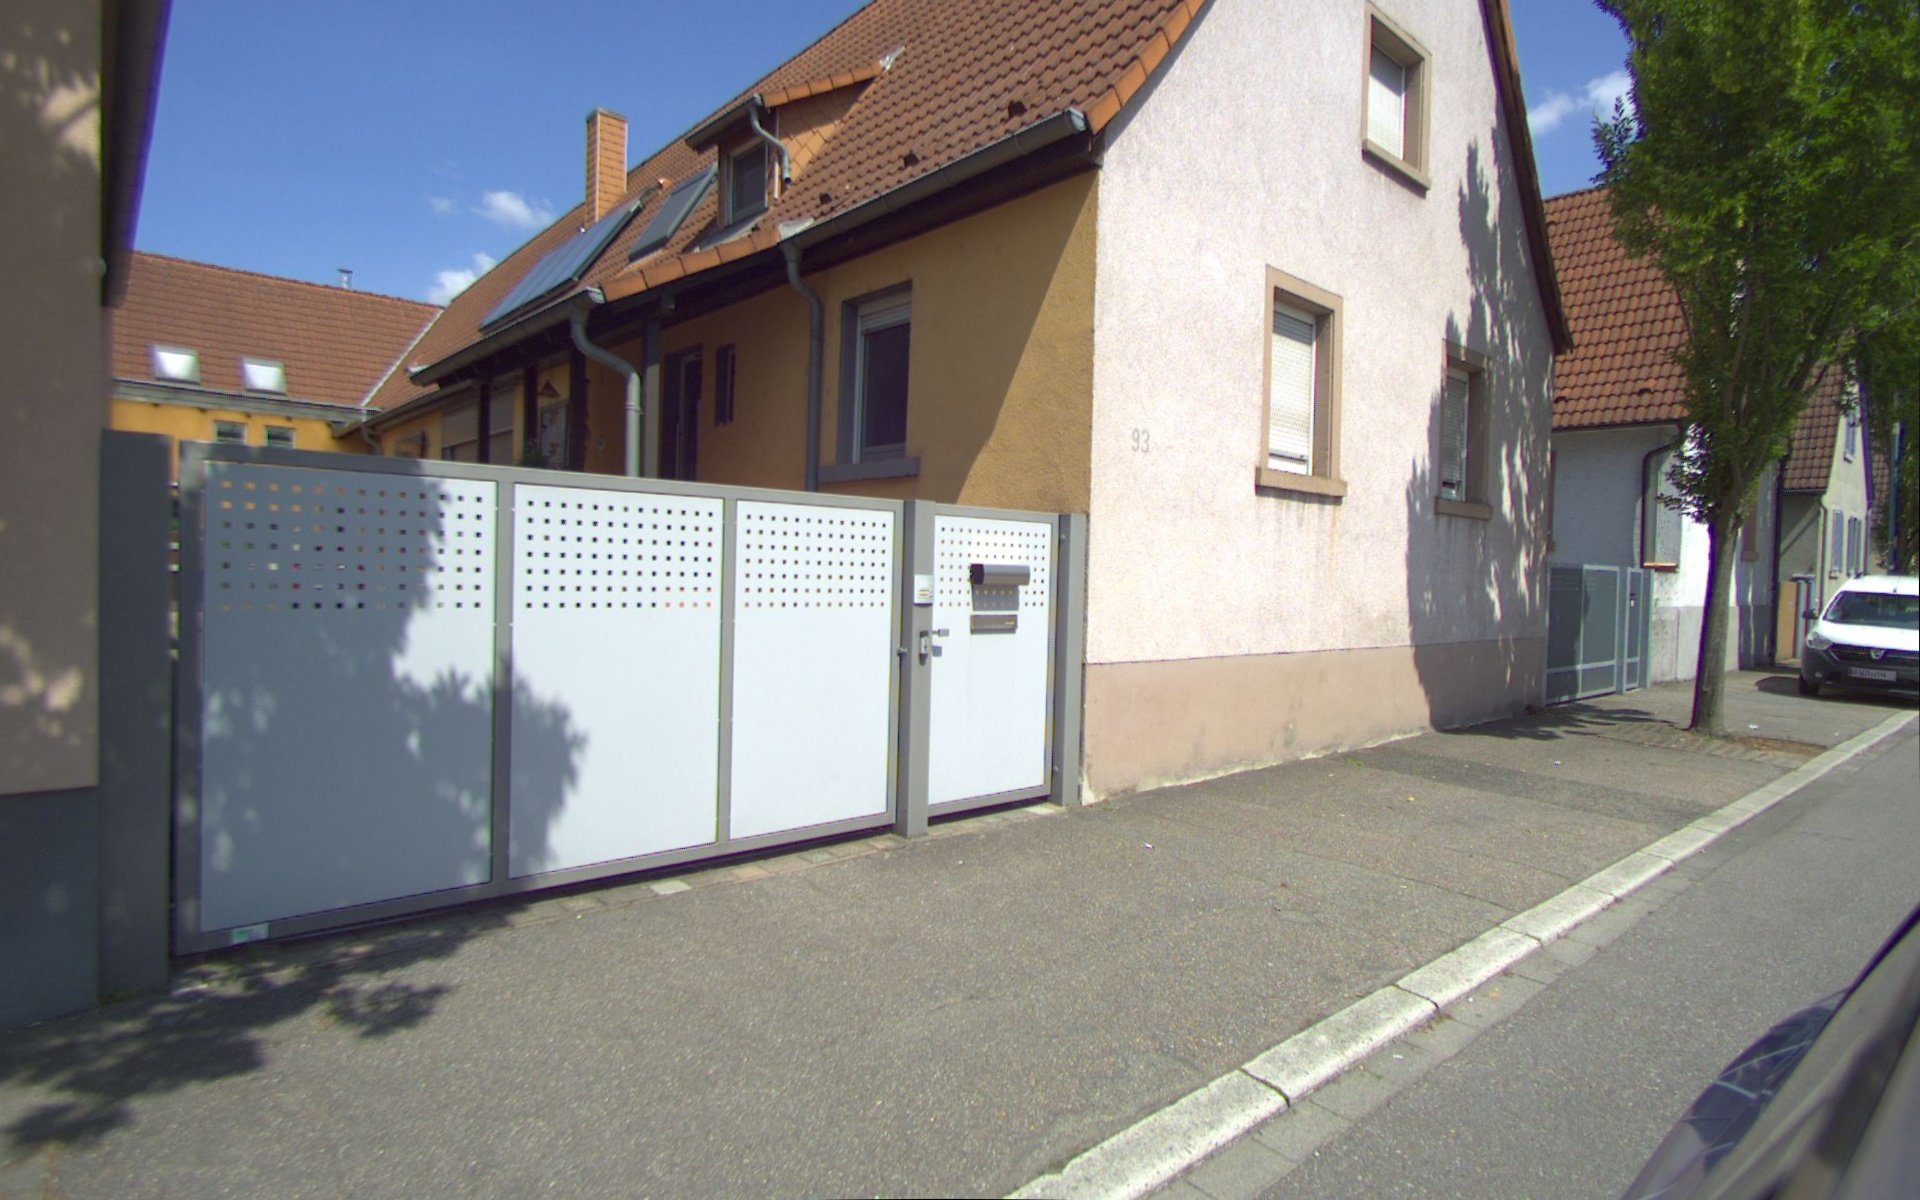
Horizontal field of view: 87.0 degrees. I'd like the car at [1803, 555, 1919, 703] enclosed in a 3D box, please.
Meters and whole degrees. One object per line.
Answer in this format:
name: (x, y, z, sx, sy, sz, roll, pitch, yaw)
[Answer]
car: (14.073, 0.371, 14.898, 4.680, 1.864, 1.693, 0, 4, -41)
